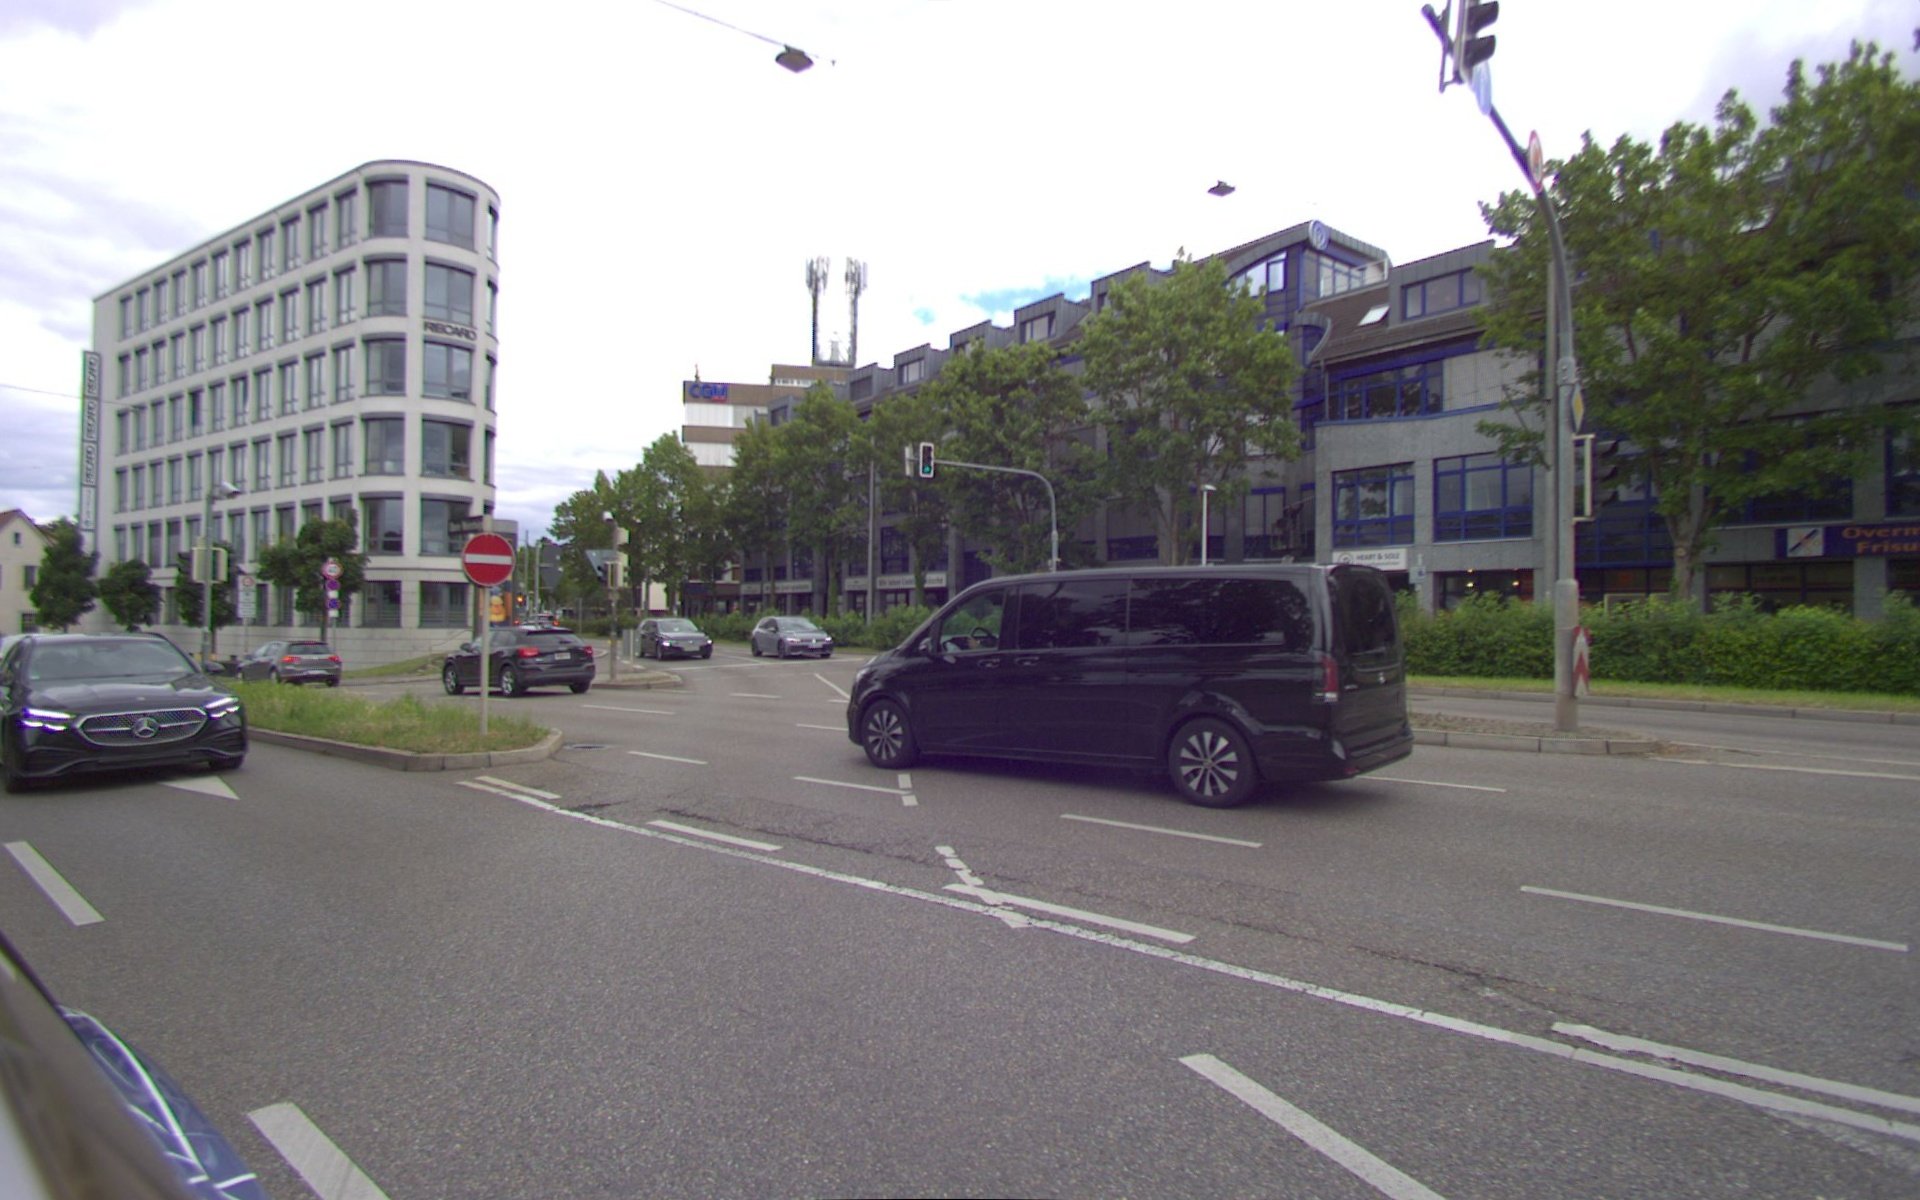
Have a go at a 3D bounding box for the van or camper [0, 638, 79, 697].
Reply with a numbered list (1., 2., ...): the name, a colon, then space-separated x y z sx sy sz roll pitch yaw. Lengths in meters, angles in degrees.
1. van or camper: -34.283 2.432 37.249 4.442 2.029 1.975 -2 -2 38

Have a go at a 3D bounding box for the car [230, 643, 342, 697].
1. car: -20.803 2.112 31.188 3.995 1.475 1.727 -2 -1 39

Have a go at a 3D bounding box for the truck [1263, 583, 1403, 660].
1. truck: 12.569 0.779 34.362 1.966 2.405 4.012 -2 -2 -30

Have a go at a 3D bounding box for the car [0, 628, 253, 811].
1. car: -9.313 1.192 10.892 4.333 1.542 1.853 -5 -4 42

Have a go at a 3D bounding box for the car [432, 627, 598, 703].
1. car: -9.796 1.371 22.162 3.997 1.475 1.733 -2 -1 40

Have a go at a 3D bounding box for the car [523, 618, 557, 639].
1. car: -31.941 2.149 76.933 1.689 1.474 4.454 -2 1 -31

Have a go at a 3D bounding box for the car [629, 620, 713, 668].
1. car: -10.337 1.503 36.026 1.751 1.474 4.454 -2 1 -31

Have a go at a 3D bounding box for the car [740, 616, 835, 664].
1. car: -6.099 1.371 35.417 1.751 1.474 4.453 -2 0 -31

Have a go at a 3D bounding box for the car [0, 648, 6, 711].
1. car: -25.779 2.076 25.384 3.989 1.542 1.858 -4 -3 34

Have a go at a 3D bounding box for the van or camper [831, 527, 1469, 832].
1. van or camper: 1.369 0.541 8.897 5.244 1.952 1.907 -1 0 40
